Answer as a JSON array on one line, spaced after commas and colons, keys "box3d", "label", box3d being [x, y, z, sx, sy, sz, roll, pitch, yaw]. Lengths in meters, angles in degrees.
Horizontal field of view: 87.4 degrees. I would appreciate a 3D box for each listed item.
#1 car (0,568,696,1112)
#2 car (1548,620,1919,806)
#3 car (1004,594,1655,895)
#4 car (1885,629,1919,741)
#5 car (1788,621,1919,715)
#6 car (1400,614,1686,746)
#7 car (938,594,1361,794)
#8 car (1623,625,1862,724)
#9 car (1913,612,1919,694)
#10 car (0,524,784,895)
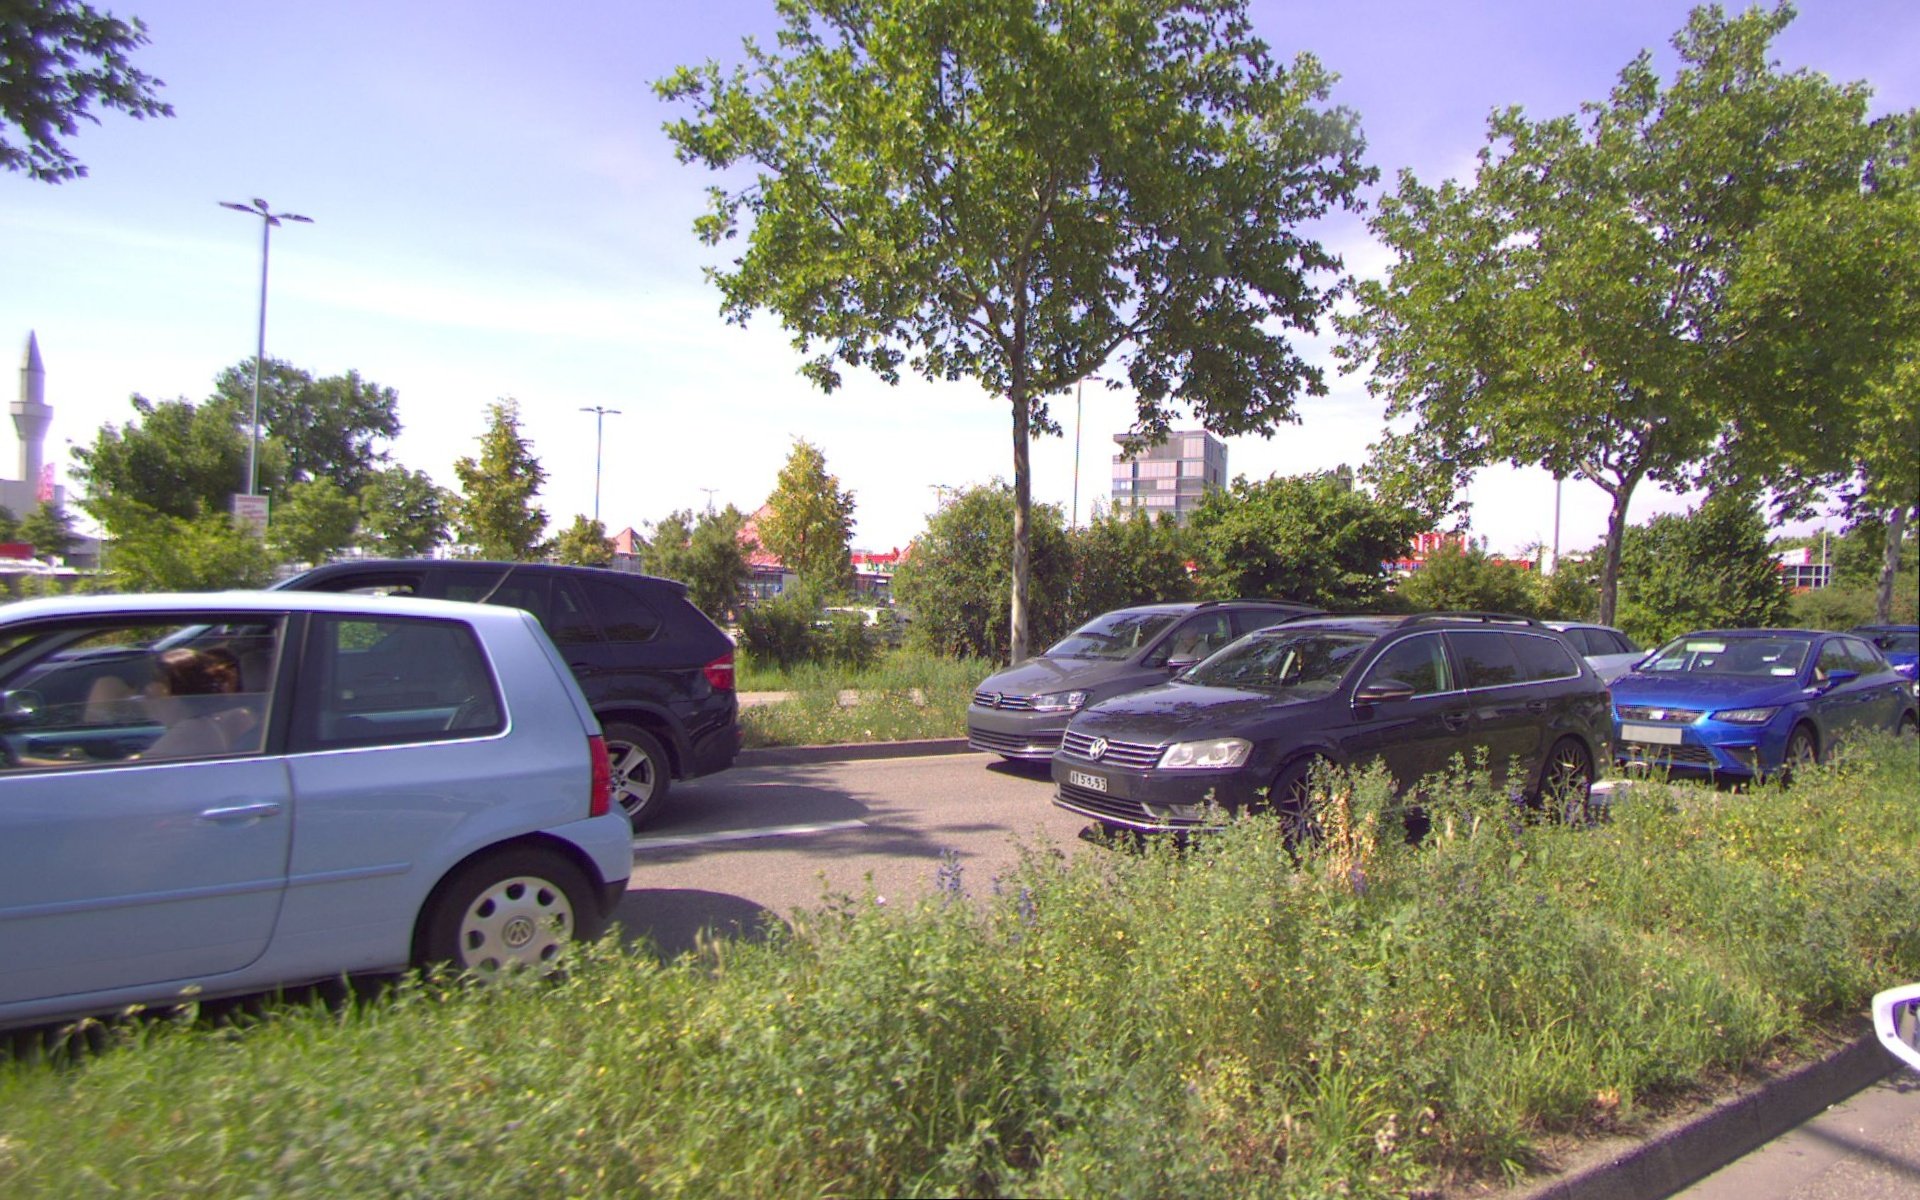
[{"box3d": [-3.028, 0.665, 3.502, 3.770, 1.491, 1.681, 1, -1, -30], "label": "car"}, {"box3d": [7.948, 0.988, 10.115, 4.164, 1.509, 1.775, 1, -1, -32], "label": "car"}, {"box3d": [2.782, 0.805, 7.161, 4.771, 1.550, 1.749, 1, -1, -31], "label": "car"}, {"box3d": [14.853, 1.170, 13.983, 4.400, 1.485, 1.814, 1, -1, -32], "label": "car"}, {"box3d": [18.143, 1.268, 19.639, 4.261, 1.653, 1.681, 1, -1, -31], "label": "car"}, {"box3d": [7.959, 1.002, 13.642, 3.893, 1.550, 1.681, 1, -1, -30], "label": "car"}, {"box3d": [1.989, 0.835, 10.159, 4.129, 1.668, 1.681, 1, -1, -30], "label": "car"}, {"box3d": [13.308, 1.189, 17.019, 4.377, 1.470, 1.724, 1, -1, -31], "label": "car"}, {"box3d": [24.052, 1.264, 23.394, 3.989, 1.883, 1.681, 2, -1, -30], "label": "car"}, {"box3d": [-3.693, 0.582, 6.389, 4.716, 1.760, 1.812, 2, -1, -32], "label": "car"}]
